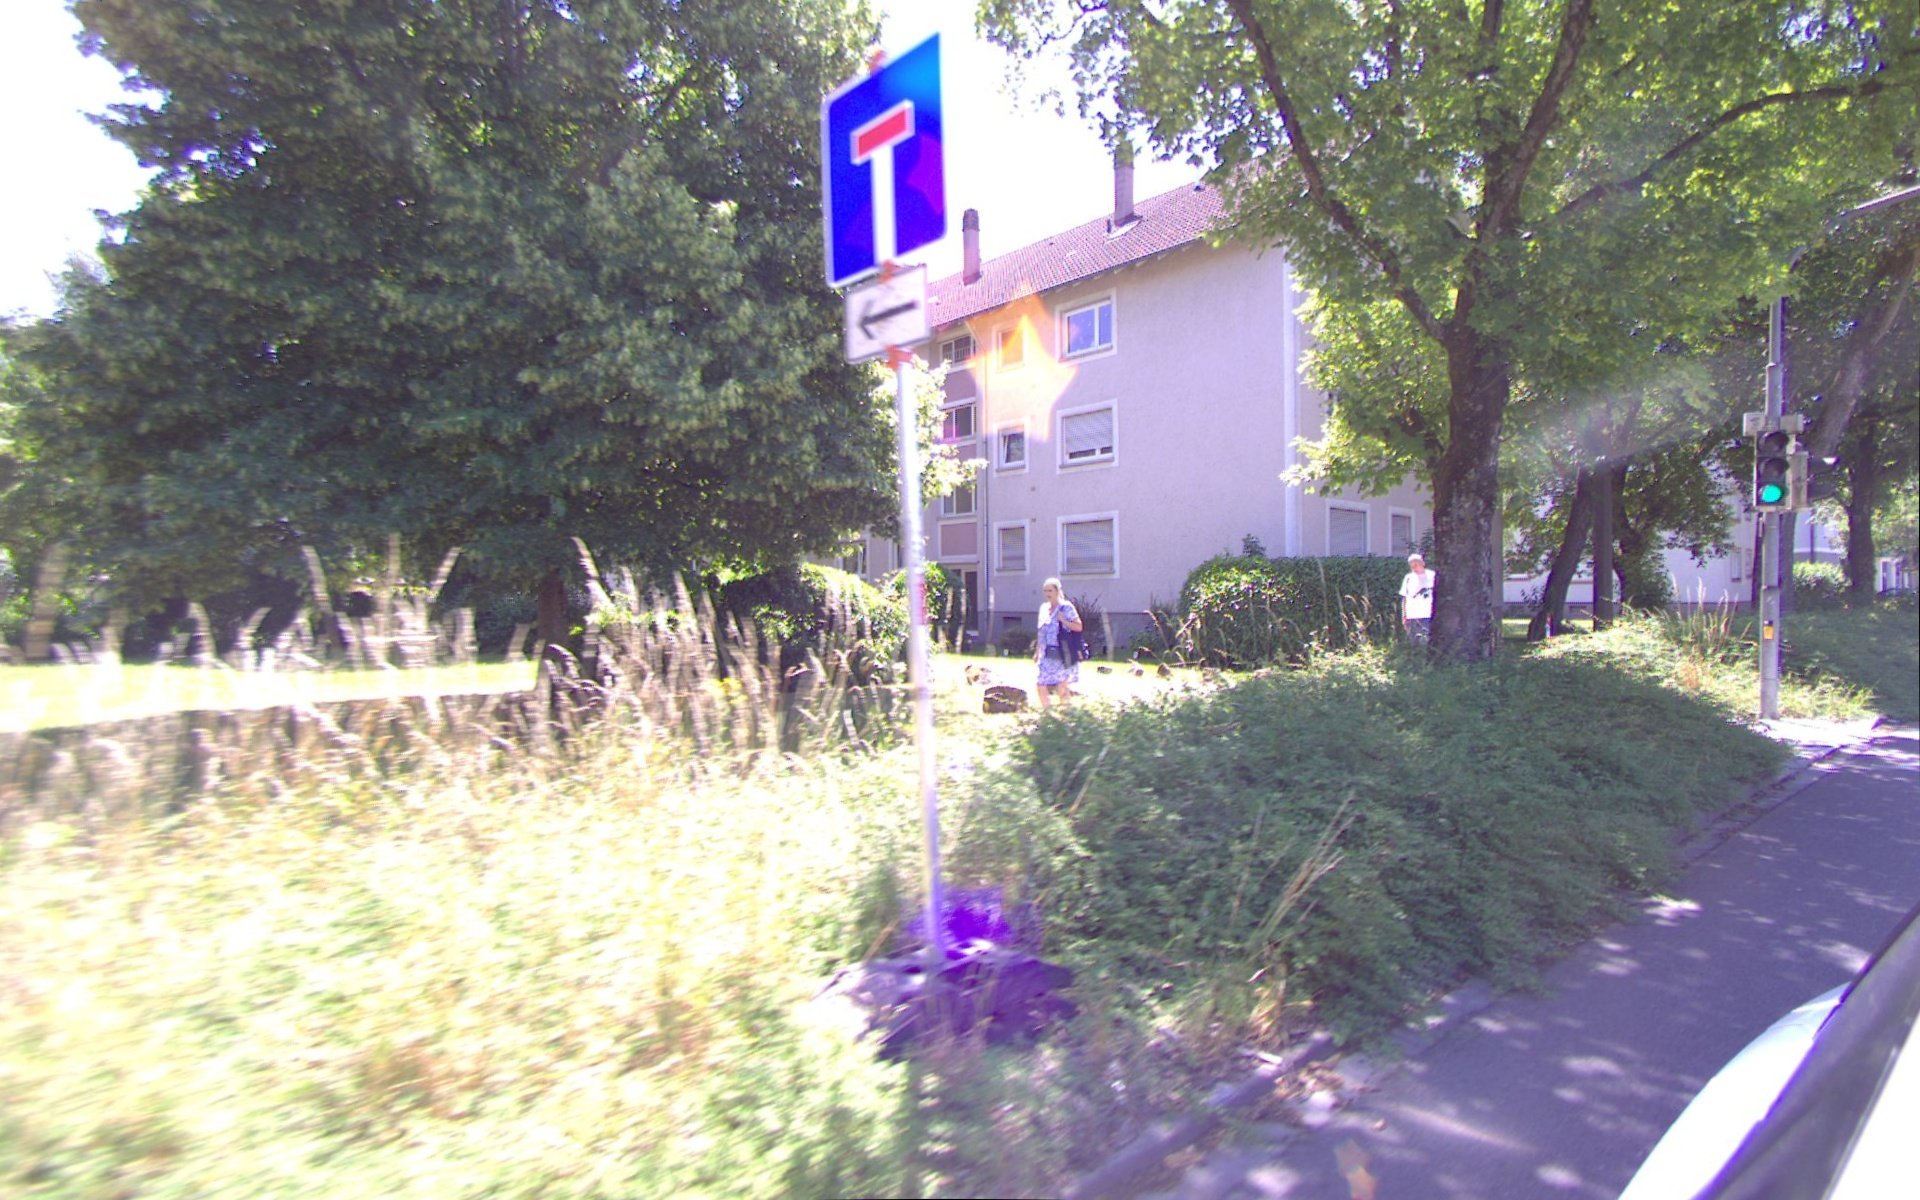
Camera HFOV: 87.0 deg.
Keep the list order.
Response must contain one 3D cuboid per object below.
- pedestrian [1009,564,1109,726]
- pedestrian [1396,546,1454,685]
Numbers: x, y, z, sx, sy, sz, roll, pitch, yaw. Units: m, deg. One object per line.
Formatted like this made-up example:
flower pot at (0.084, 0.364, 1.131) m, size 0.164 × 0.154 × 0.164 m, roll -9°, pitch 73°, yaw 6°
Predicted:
pedestrian at (1.064, 0.448, 10.869) m, size 0.717 × 1.654 × 0.838 m, roll 0°, pitch 1°, yaw 43°
pedestrian at (6.640, 0.204, 14.431) m, size 0.669 × 1.897 × 0.893 m, roll 0°, pitch 1°, yaw 31°
